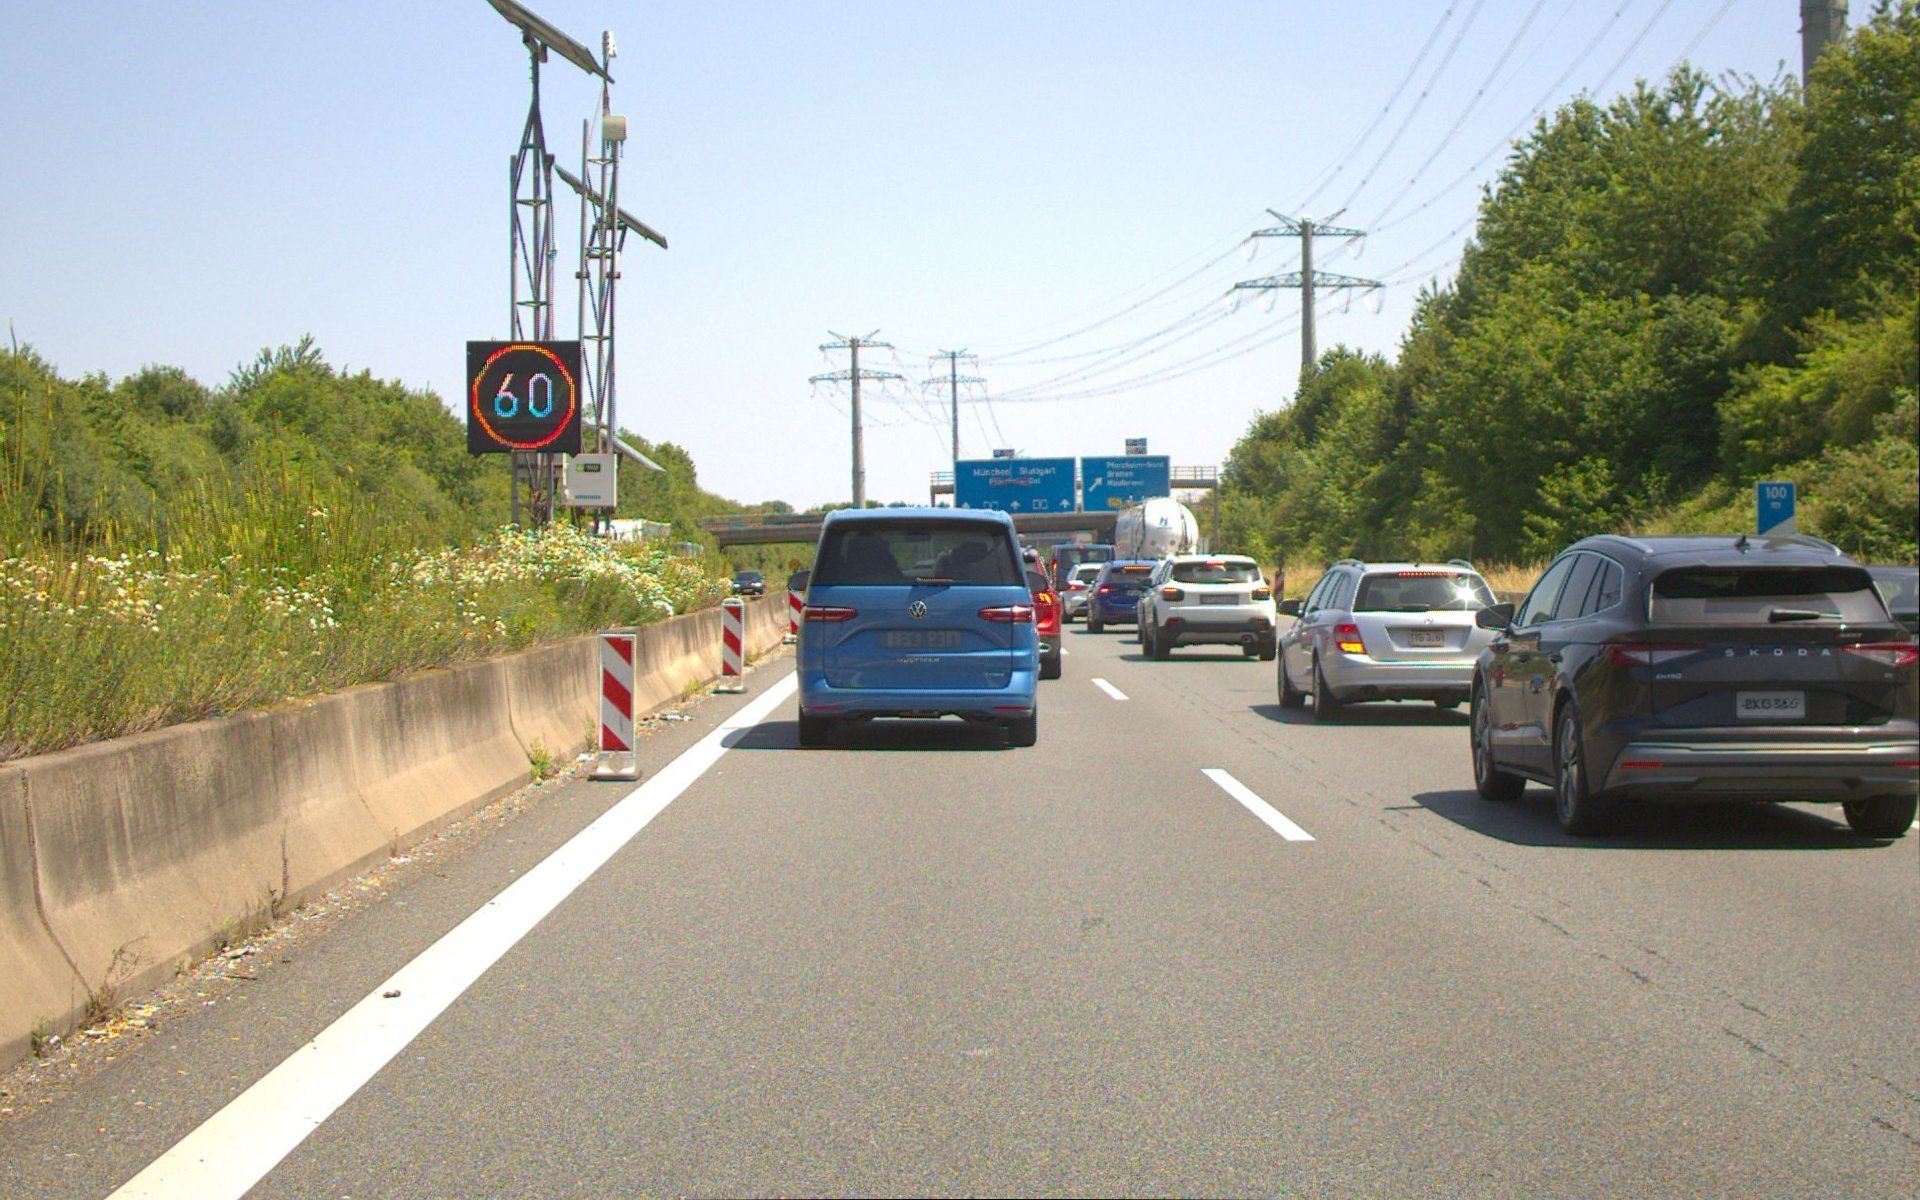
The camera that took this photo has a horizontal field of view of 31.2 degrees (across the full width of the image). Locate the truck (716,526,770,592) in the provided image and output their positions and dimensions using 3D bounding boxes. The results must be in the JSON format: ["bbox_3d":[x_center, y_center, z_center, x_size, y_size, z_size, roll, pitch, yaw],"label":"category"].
[{"bbox_3d":[-13.404,-2.528,212.561,2.762,3.875,9.030,-2,1,-1],"label":"truck"}]

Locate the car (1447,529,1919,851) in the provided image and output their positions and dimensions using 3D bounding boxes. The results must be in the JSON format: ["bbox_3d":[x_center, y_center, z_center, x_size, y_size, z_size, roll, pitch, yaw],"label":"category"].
[{"bbox_3d":[4.039,0.411,19.473,1.828,1.609,4.431,0,1,-1],"label":"car"}]

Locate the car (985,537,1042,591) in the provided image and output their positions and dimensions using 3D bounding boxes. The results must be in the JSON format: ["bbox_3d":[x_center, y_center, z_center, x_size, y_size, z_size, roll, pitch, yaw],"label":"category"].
[{"bbox_3d":[2.033,-1.387,131.074,1.993,2.007,4.000,1,1,-1],"label":"car"}]

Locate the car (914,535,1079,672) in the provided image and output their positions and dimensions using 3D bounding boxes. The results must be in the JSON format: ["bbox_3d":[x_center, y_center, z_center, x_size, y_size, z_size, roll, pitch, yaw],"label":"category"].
[{"bbox_3d":[0.408,0.010,43.200,1.908,1.625,4.384,0,1,-1],"label":"car"}]

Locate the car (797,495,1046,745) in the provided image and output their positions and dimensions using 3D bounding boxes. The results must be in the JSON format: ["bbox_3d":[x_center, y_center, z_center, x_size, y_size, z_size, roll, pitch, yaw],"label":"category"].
[{"bbox_3d":[-0.390,0.123,28.376,1.871,1.873,4.384,1,1,-2],"label":"car"}]

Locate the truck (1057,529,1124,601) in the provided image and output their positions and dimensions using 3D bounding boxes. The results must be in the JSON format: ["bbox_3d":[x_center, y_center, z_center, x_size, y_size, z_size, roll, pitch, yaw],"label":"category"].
[{"bbox_3d":[6.657,-1.844,176.874,2.644,3.526,12.553,1,1,-1],"label":"truck"}]

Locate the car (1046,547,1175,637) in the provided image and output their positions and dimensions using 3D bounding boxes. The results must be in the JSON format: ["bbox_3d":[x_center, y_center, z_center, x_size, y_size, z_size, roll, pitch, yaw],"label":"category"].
[{"bbox_3d":[2.636,-0.162,61.062,1.908,1.511,4.384,1,1,-2],"label":"car"}]

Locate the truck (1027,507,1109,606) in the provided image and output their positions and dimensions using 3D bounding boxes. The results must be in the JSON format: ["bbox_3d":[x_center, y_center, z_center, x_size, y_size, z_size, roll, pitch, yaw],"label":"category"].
[{"bbox_3d":[3.026,-1.238,97.393,1.993,2.714,5.680,1,1,-1],"label":"truck"}]

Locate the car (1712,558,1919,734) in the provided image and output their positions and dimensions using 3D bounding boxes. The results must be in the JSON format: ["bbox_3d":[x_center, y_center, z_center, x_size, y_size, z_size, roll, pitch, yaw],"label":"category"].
[{"bbox_3d":[7.840,0.348,29.322,1.734,1.373,4.303,1,1,-2],"label":"car"}]

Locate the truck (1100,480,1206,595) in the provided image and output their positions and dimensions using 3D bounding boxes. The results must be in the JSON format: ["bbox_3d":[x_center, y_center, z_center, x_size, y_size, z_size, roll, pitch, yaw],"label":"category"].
[{"bbox_3d":[7.211,-2.328,130.606,2.644,4.058,16.442,1,1,-1],"label":"truck"}]

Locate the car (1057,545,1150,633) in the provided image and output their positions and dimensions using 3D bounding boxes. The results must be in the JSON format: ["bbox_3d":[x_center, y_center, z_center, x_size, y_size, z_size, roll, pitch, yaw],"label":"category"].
[{"bbox_3d":[3.400,-0.282,82.125,1.993,2.007,4.000,1,1,-1],"label":"car"}]

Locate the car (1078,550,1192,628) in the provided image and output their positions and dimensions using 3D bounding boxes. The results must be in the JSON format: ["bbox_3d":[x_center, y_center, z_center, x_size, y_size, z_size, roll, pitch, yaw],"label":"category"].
[{"bbox_3d":[3.510,-0.248,69.668,1.908,1.511,4.384,1,1,-2],"label":"car"}]

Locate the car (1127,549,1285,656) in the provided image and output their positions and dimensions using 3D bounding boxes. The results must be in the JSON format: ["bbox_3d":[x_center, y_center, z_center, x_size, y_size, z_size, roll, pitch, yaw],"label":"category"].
[{"bbox_3d":[3.608,0.003,51.044,1.908,1.503,3.922,1,1,-2],"label":"car"}]

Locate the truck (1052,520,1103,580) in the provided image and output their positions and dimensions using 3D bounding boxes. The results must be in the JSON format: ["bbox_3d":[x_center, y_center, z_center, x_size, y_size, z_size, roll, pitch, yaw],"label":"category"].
[{"bbox_3d":[8.586,-3.667,251.960,2.938,4.276,12.553,1,1,-1],"label":"truck"}]

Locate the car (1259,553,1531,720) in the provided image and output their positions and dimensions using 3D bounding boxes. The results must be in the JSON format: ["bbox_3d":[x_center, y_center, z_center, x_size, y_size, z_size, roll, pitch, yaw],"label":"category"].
[{"bbox_3d":[3.990,0.293,32.212,1.821,1.432,4.384,1,1,-2],"label":"car"}]
